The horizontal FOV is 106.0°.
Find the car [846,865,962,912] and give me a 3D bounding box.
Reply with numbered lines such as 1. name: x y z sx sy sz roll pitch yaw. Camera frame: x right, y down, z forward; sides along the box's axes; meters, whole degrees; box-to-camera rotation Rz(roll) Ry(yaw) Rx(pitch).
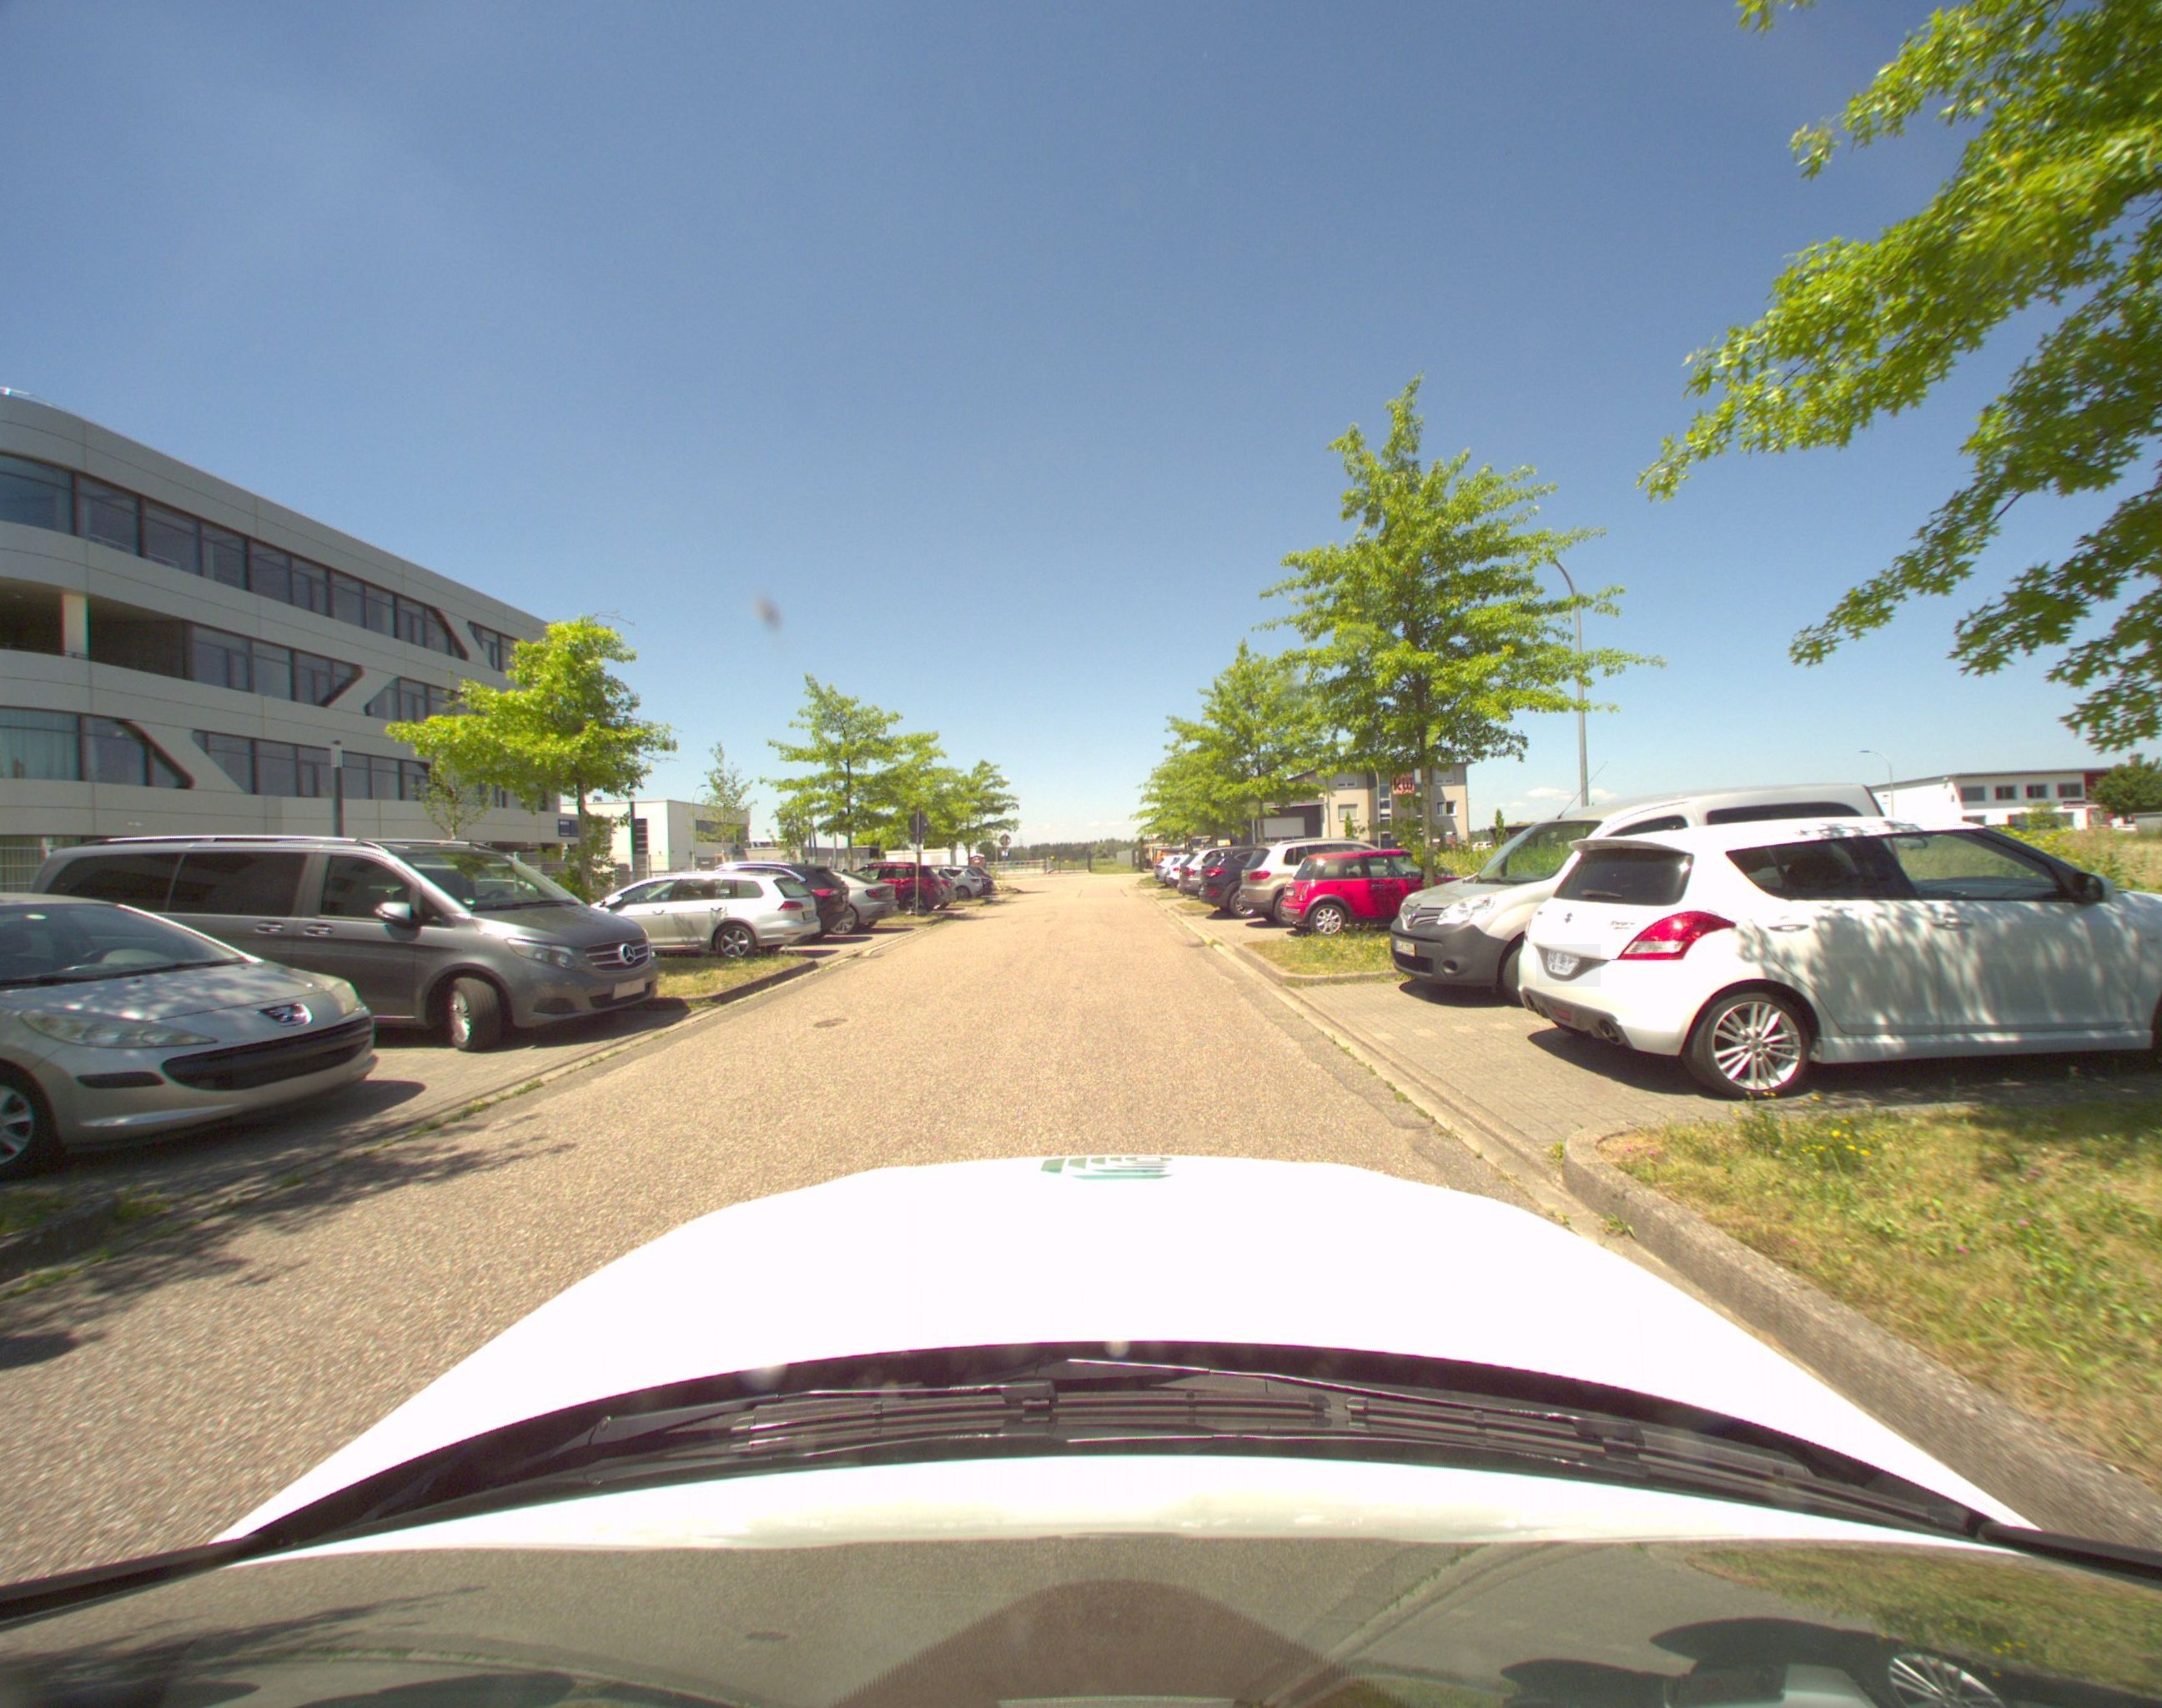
1. car: -6.008 1.159 27.996 3.648 1.508 1.729 0 -1 -3

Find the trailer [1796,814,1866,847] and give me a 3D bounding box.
1. trailer: 64.722 -2.033 70.322 3.975 2.600 2.232 -2 0 -1

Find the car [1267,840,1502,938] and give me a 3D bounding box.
1. car: 5.233 0.584 14.381 3.446 1.417 1.754 -4 -1 0

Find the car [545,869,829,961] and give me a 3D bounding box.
1. car: -6.596 1.002 13.956 4.027 1.461 1.603 0 -1 -2

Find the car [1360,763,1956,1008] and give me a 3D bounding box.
1. car: 5.238 0.282 7.895 4.386 1.830 1.796 -4 -1 1

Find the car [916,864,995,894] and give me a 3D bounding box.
1. car: -6.067 1.205 39.608 3.616 1.436 1.725 0 -1 -2

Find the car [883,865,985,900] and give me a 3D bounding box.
1. car: -6.215 1.202 34.883 4.066 1.424 1.872 0 -1 -3

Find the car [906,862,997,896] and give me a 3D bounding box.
1. car: -5.883 1.129 37.326 3.917 1.521 1.783 0 -1 -2

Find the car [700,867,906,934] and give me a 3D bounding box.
1. car: -6.408 1.043 19.078 4.178 1.480 1.713 0 -1 1

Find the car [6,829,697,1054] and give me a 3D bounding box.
1. car: -6.793 0.764 8.017 5.050 1.892 1.998 -1 0 2

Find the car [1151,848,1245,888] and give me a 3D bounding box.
1. car: 5.689 0.671 39.934 4.264 1.644 1.851 -4 -1 1

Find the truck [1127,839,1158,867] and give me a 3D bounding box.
1. truck: 6.783 -0.090 90.957 2.912 2.938 6.935 -2 0 0

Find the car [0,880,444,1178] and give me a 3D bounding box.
1. car: -6.696 0.938 5.131 3.954 1.484 1.764 0 0 1

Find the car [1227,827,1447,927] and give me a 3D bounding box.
1. car: 5.102 0.452 16.607 3.862 1.678 1.782 -4 -1 1

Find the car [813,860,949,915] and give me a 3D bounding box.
1. car: -6.156 1.008 25.383 3.724 1.621 1.817 0 -1 1

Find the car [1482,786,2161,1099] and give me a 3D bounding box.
1. car: 4.816 0.462 5.204 3.618 1.503 1.677 -4 -1 1

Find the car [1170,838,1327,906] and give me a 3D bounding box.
1. car: 5.193 0.554 25.625 4.437 1.768 1.992 -4 0 -2

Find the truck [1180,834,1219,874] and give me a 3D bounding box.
1. truck: 12.321 0.027 85.325 2.912 3.929 6.935 -2 0 0

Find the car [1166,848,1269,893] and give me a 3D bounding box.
1. car: 5.784 0.711 34.935 4.053 1.608 1.902 -3 -1 2

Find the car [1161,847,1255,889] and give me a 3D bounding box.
1. car: 5.789 0.627 37.425 3.974 1.644 1.838 -3 -1 0

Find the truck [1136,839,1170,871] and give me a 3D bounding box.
1. truck: 7.153 0.119 82.035 2.718 3.062 6.935 -2 0 0

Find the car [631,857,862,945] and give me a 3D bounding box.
1. car: -6.692 0.916 16.650 3.979 1.678 1.774 0 -1 -4

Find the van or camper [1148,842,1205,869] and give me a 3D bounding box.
1. van or camper: 8.557 0.135 73.237 4.920 2.163 2.000 -2 1 0

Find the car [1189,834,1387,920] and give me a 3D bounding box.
1. car: 4.807 0.521 19.317 4.160 1.696 1.782 -4 -1 0
